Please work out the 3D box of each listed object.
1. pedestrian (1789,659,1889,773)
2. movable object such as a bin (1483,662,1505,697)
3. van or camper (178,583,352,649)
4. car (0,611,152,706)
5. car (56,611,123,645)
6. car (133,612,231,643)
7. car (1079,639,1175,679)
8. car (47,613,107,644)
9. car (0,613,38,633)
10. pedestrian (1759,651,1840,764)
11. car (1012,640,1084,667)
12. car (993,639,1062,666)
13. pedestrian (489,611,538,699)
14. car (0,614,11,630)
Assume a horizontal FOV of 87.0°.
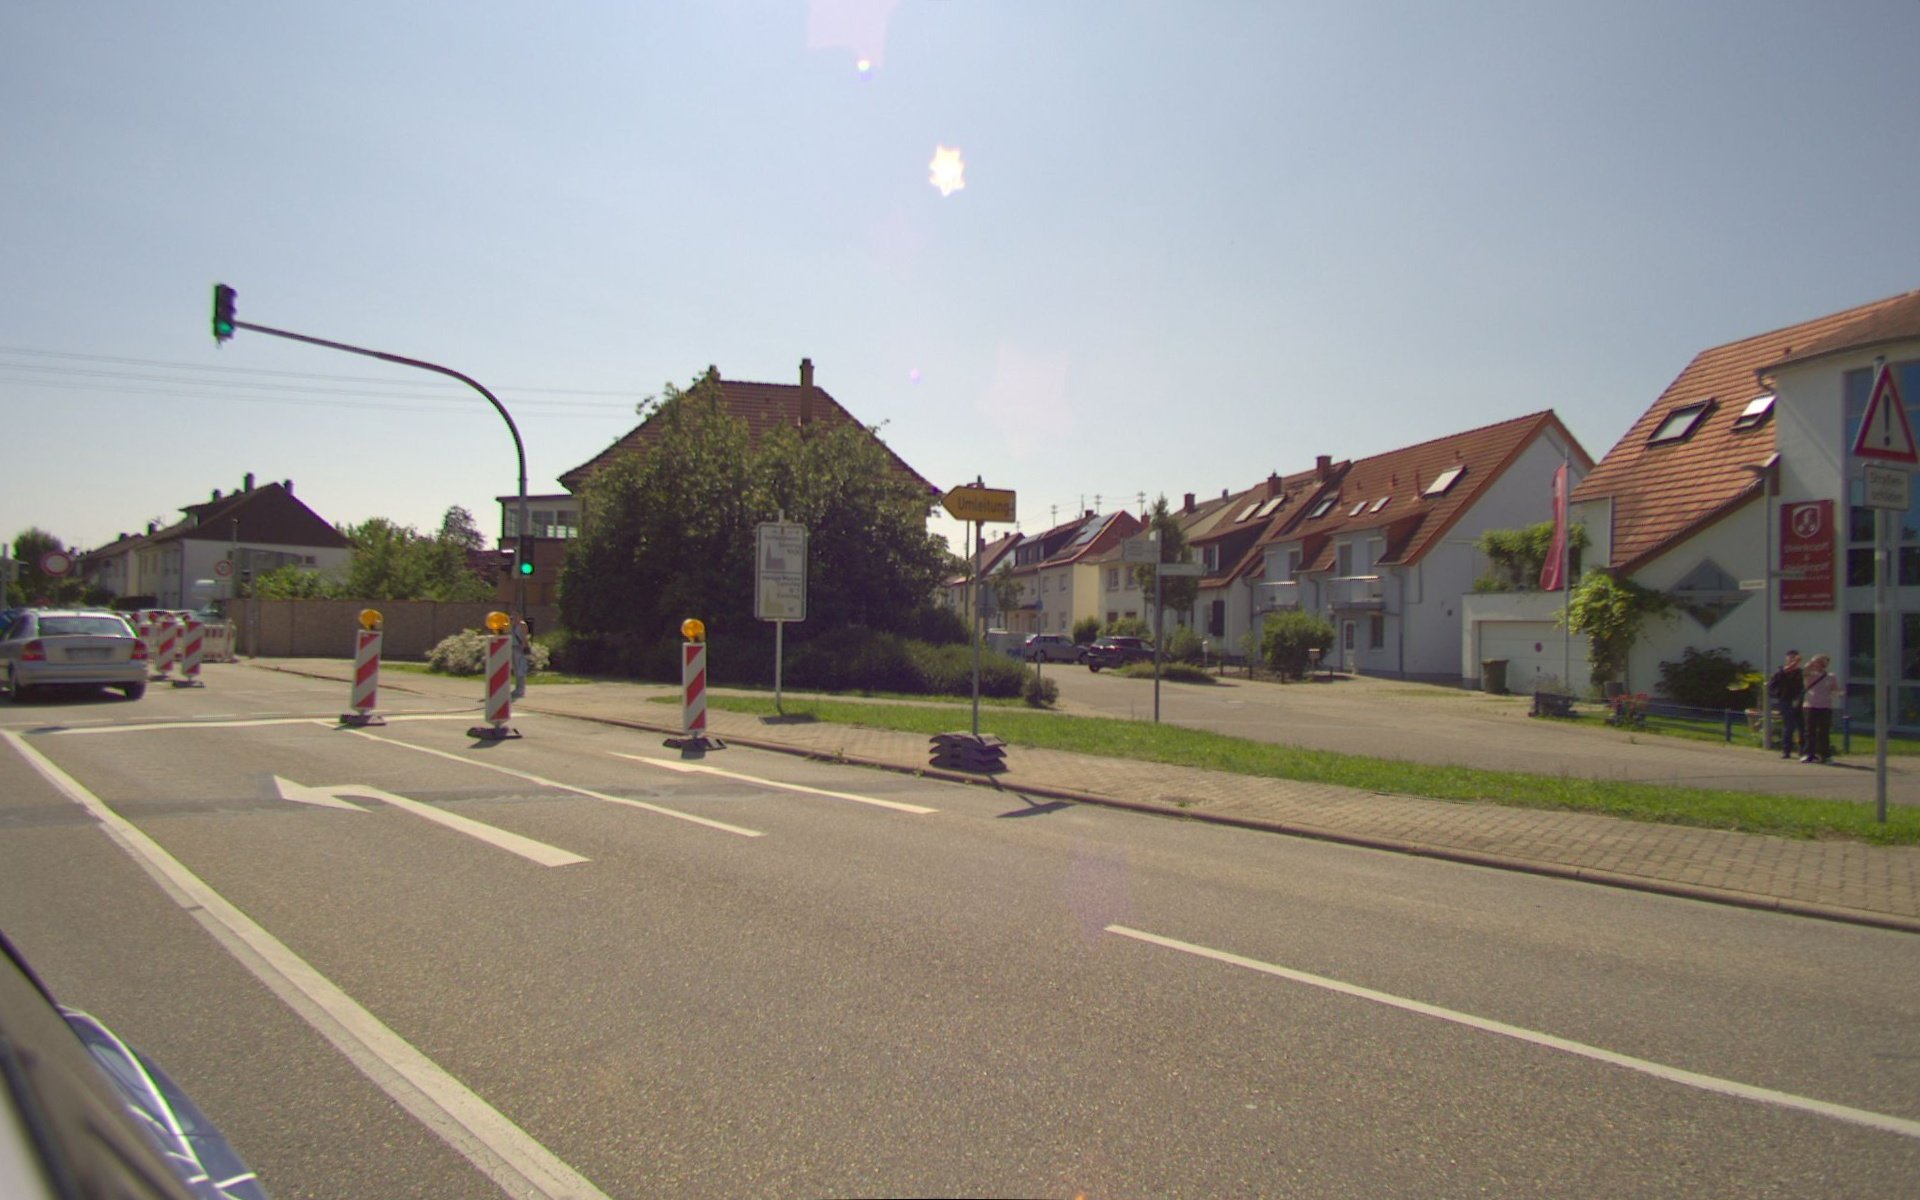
[{"bbox_3d":[14.211,1.849,16.378,0.944,1.753,0.818,1,-2,-17],"label":"pedestrian"},{"bbox_3d":[16.508,2.454,31.302,0.562,1.070,0.395,-1,-3,35],"label":"movable object such as a bin"},{"bbox_3d":[-31.986,0.800,46.817,2.284,2.866,6.192,0,-2,33],"label":"van or camper"},{"bbox_3d":[-15.056,0.903,16.893,3.977,1.414,1.682,-1,-2,40],"label":"car"},{"bbox_3d":[-43.593,1.391,50.667,4.226,1.603,1.839,0,-4,40],"label":"car"},{"bbox_3d":[-43.032,1.554,56.035,1.765,1.628,3.951,0,-2,36],"label":"car"},{"bbox_3d":[6.719,2.320,40.568,3.940,1.472,1.805,1,-2,-44],"label":"car"},{"bbox_3d":[-47.353,1.502,54.242,4.176,1.559,1.838,-1,-4,42],"label":"car"},{"bbox_3d":[-73.988,1.768,79.557,3.914,1.525,1.717,-1,-2,40],"label":"car"},{"bbox_3d":[14.151,1.788,17.069,0.791,1.835,0.712,1,-2,-17],"label":"pedestrian"},{"bbox_3d":[4.415,2.656,50.620,3.281,1.281,1.426,2,-2,-20],"label":"car"},{"bbox_3d":[3.510,2.717,52.585,3.282,1.342,1.426,2,-2,-18],"label":"car"},{"bbox_3d":[-8.586,1.039,19.465,0.688,1.620,0.607,-1,0,43],"label":"pedestrian"},{"bbox_3d":[-88.504,2.025,92.756,3.914,1.428,1.717,-1,-2,40],"label":"car"}]
